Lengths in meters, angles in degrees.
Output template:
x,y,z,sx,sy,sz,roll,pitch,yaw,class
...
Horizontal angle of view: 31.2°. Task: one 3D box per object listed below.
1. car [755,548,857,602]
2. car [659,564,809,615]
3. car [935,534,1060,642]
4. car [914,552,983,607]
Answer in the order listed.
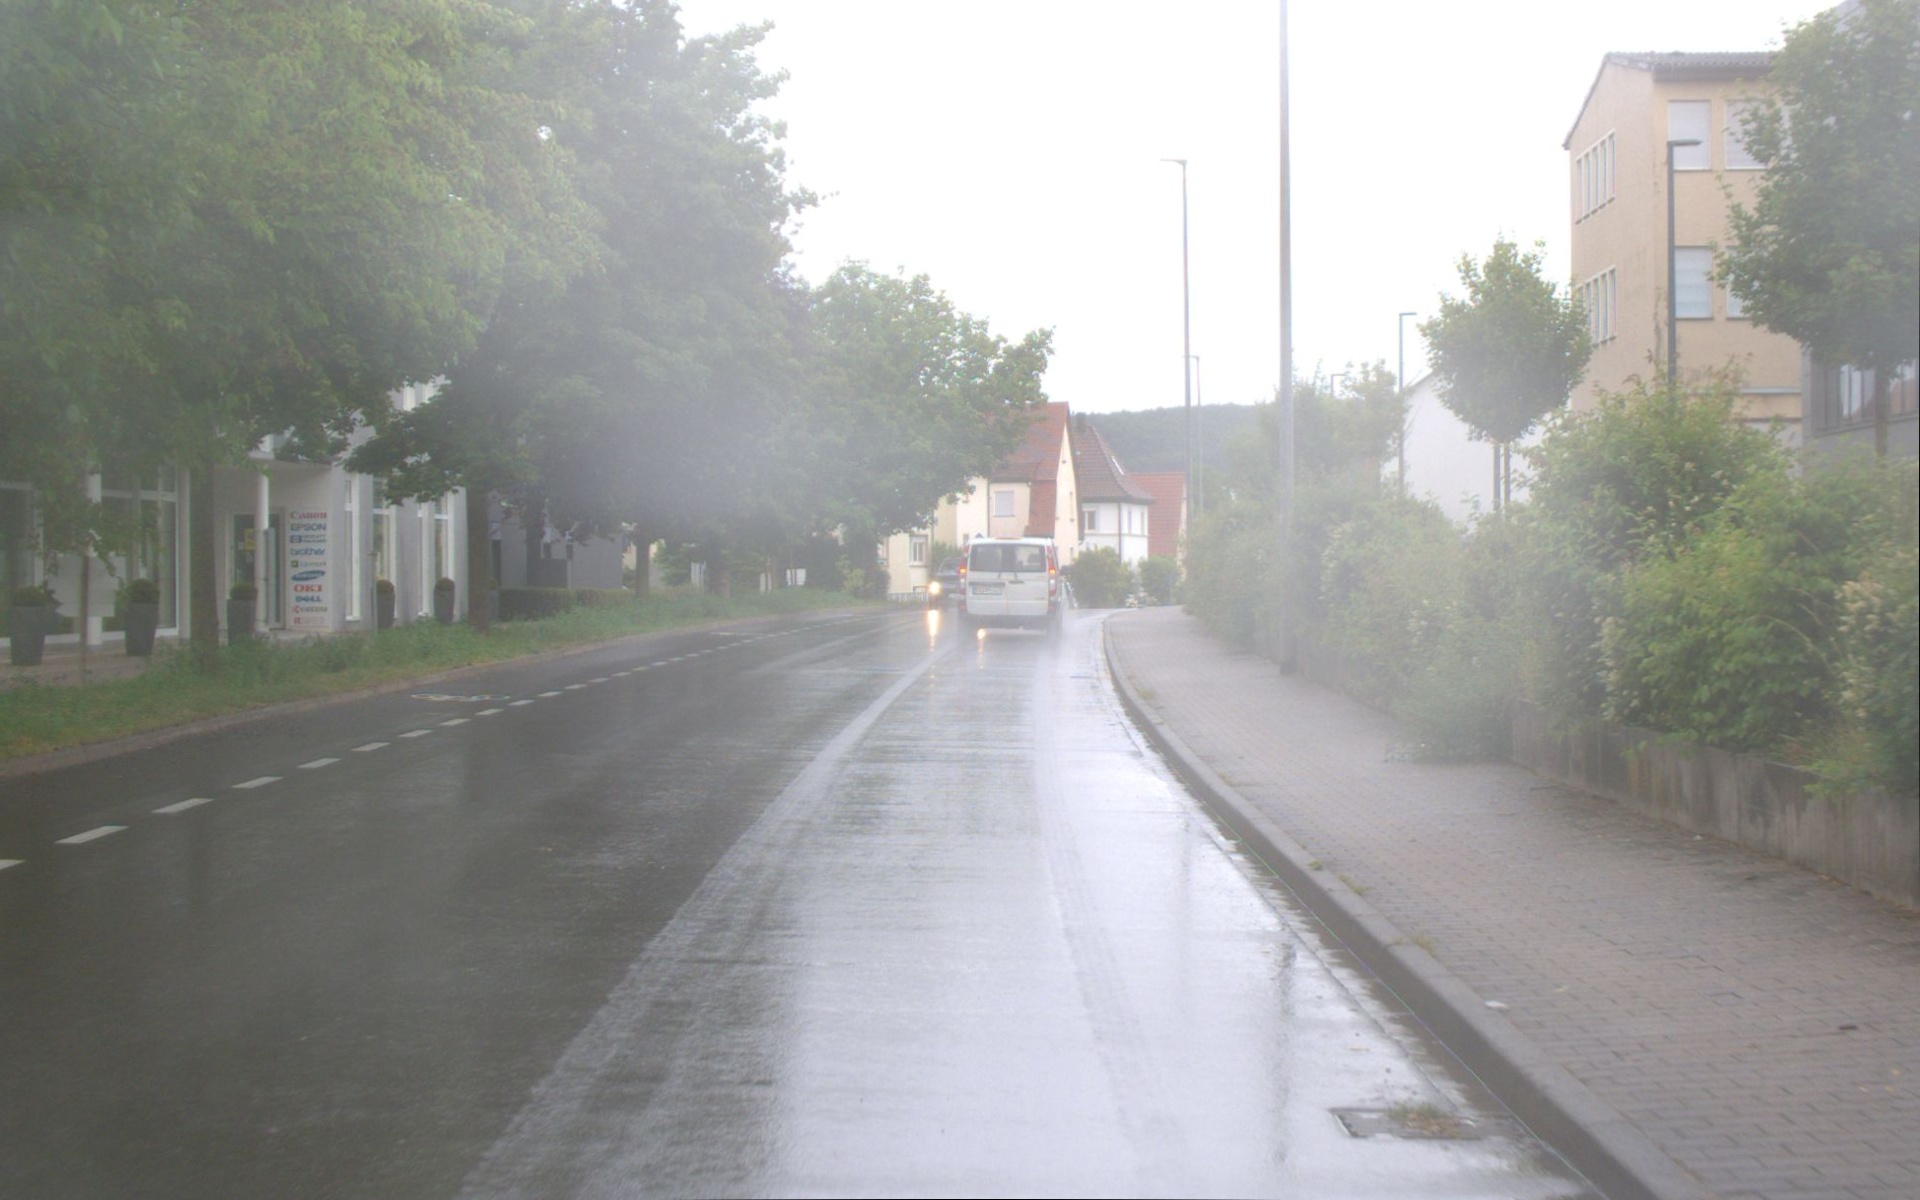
x,y,z,sx,sy,sz,roll,pitch,yaw,class
-4.594,-0.744,102.670,2.908,1.450,1.253,-2,-2,4,car
-6.183,-0.278,94.358,3.900,1.280,1.582,-2,-1,4,car
0.657,-0.254,63.880,2.117,1.881,4.502,1,1,-2,car
-0.314,-0.642,104.075,1.851,1.549,4.502,1,2,3,car
